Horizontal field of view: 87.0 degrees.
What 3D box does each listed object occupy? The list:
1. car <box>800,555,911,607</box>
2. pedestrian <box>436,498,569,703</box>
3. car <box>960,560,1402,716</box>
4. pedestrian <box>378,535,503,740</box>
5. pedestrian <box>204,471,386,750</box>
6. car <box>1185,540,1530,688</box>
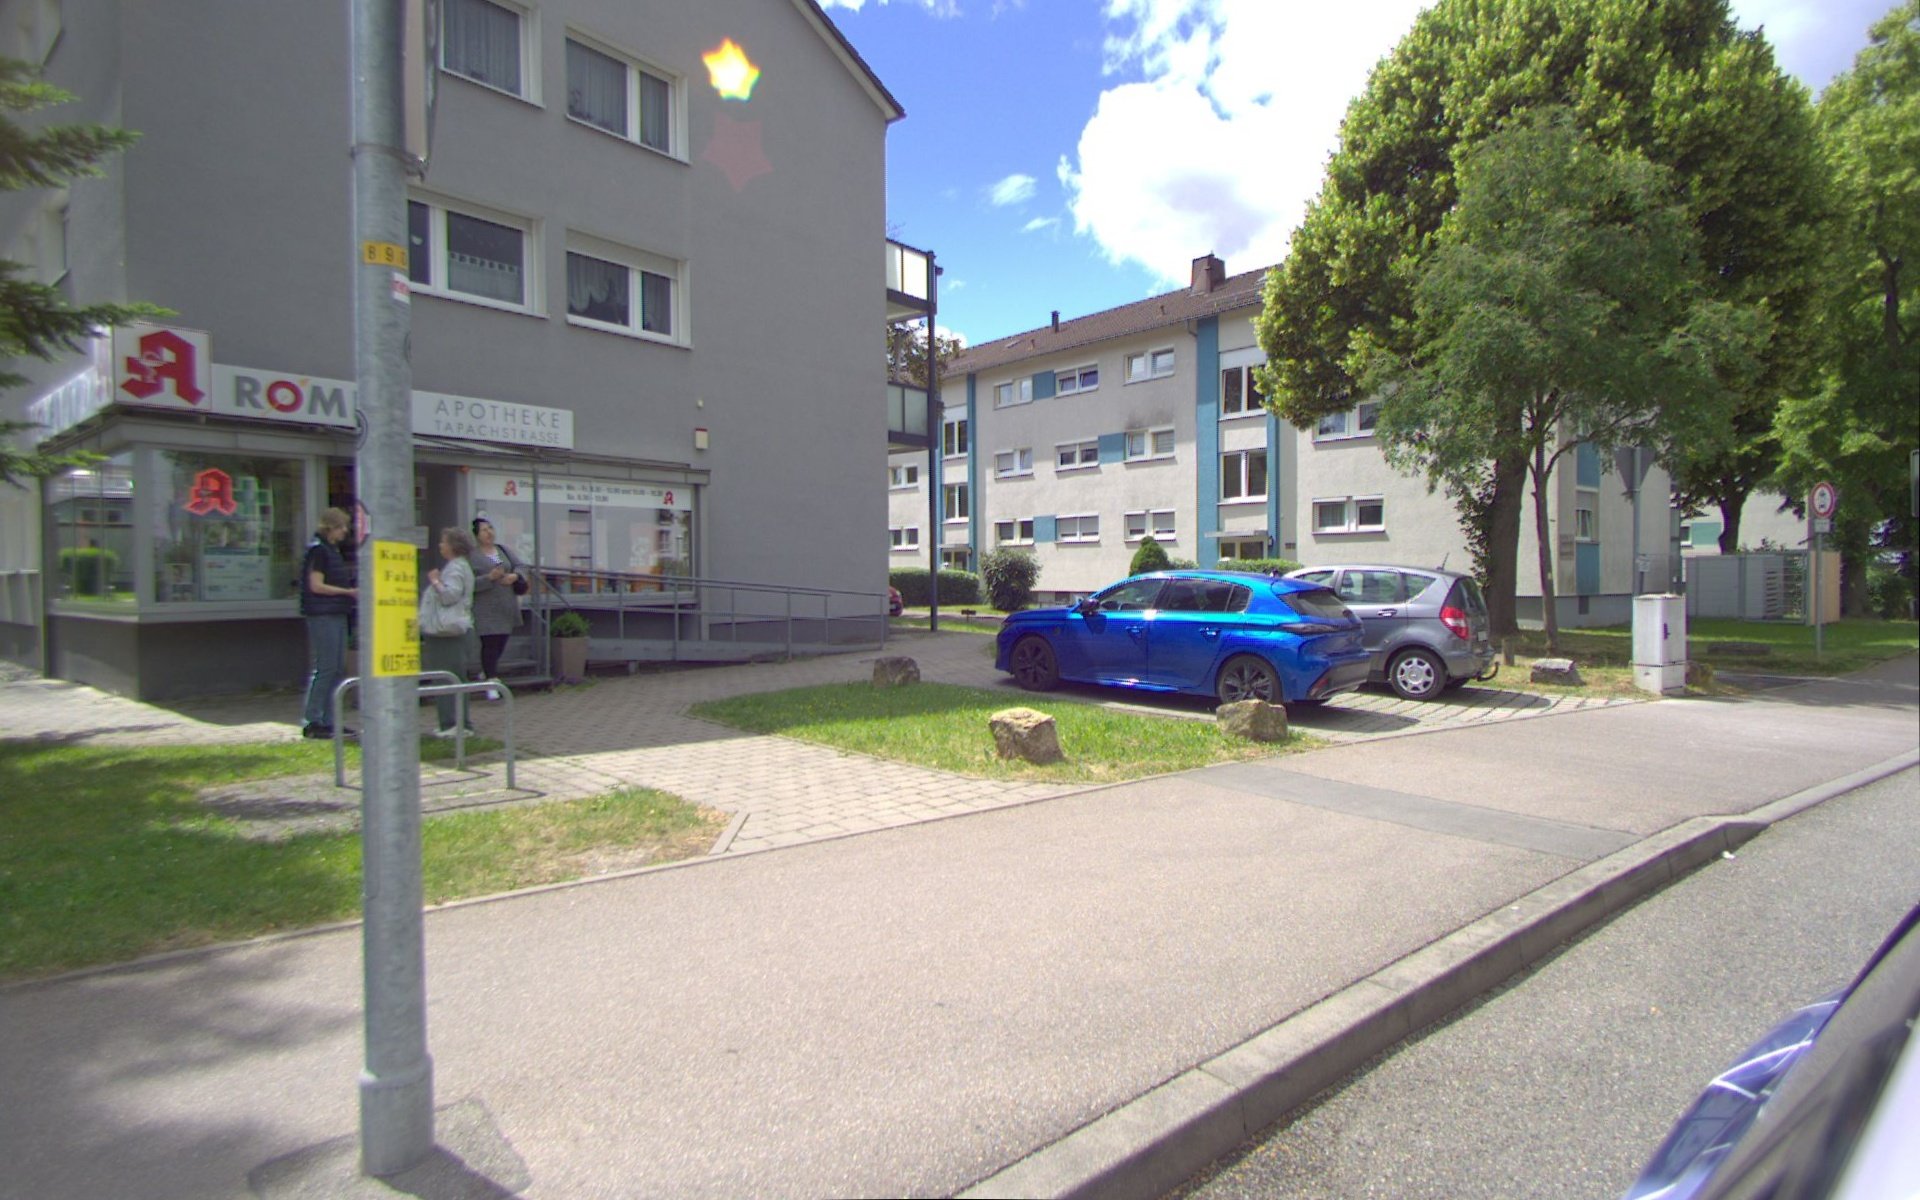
[{"bbox_3d":[-3.315,-0.564,31.489,1.699,1.521,3.880,-2,1,-36],"label":"car"},{"bbox_3d":[-4.681,-0.016,10.379,0.836,1.980,0.932,1,2,32],"label":"pedestrian"},{"bbox_3d":[2.352,0.263,11.460,4.478,1.258,1.972,5,4,40],"label":"car"},{"bbox_3d":[-4.190,0.266,8.165,0.742,1.548,0.680,2,2,44],"label":"pedestrian"},{"bbox_3d":[-5.234,0.057,7.994,0.653,2.038,1.032,1,2,40],"label":"pedestrian"},{"bbox_3d":[5.126,0.061,13.275,3.727,1.575,2.002,4,4,42],"label":"car"}]
